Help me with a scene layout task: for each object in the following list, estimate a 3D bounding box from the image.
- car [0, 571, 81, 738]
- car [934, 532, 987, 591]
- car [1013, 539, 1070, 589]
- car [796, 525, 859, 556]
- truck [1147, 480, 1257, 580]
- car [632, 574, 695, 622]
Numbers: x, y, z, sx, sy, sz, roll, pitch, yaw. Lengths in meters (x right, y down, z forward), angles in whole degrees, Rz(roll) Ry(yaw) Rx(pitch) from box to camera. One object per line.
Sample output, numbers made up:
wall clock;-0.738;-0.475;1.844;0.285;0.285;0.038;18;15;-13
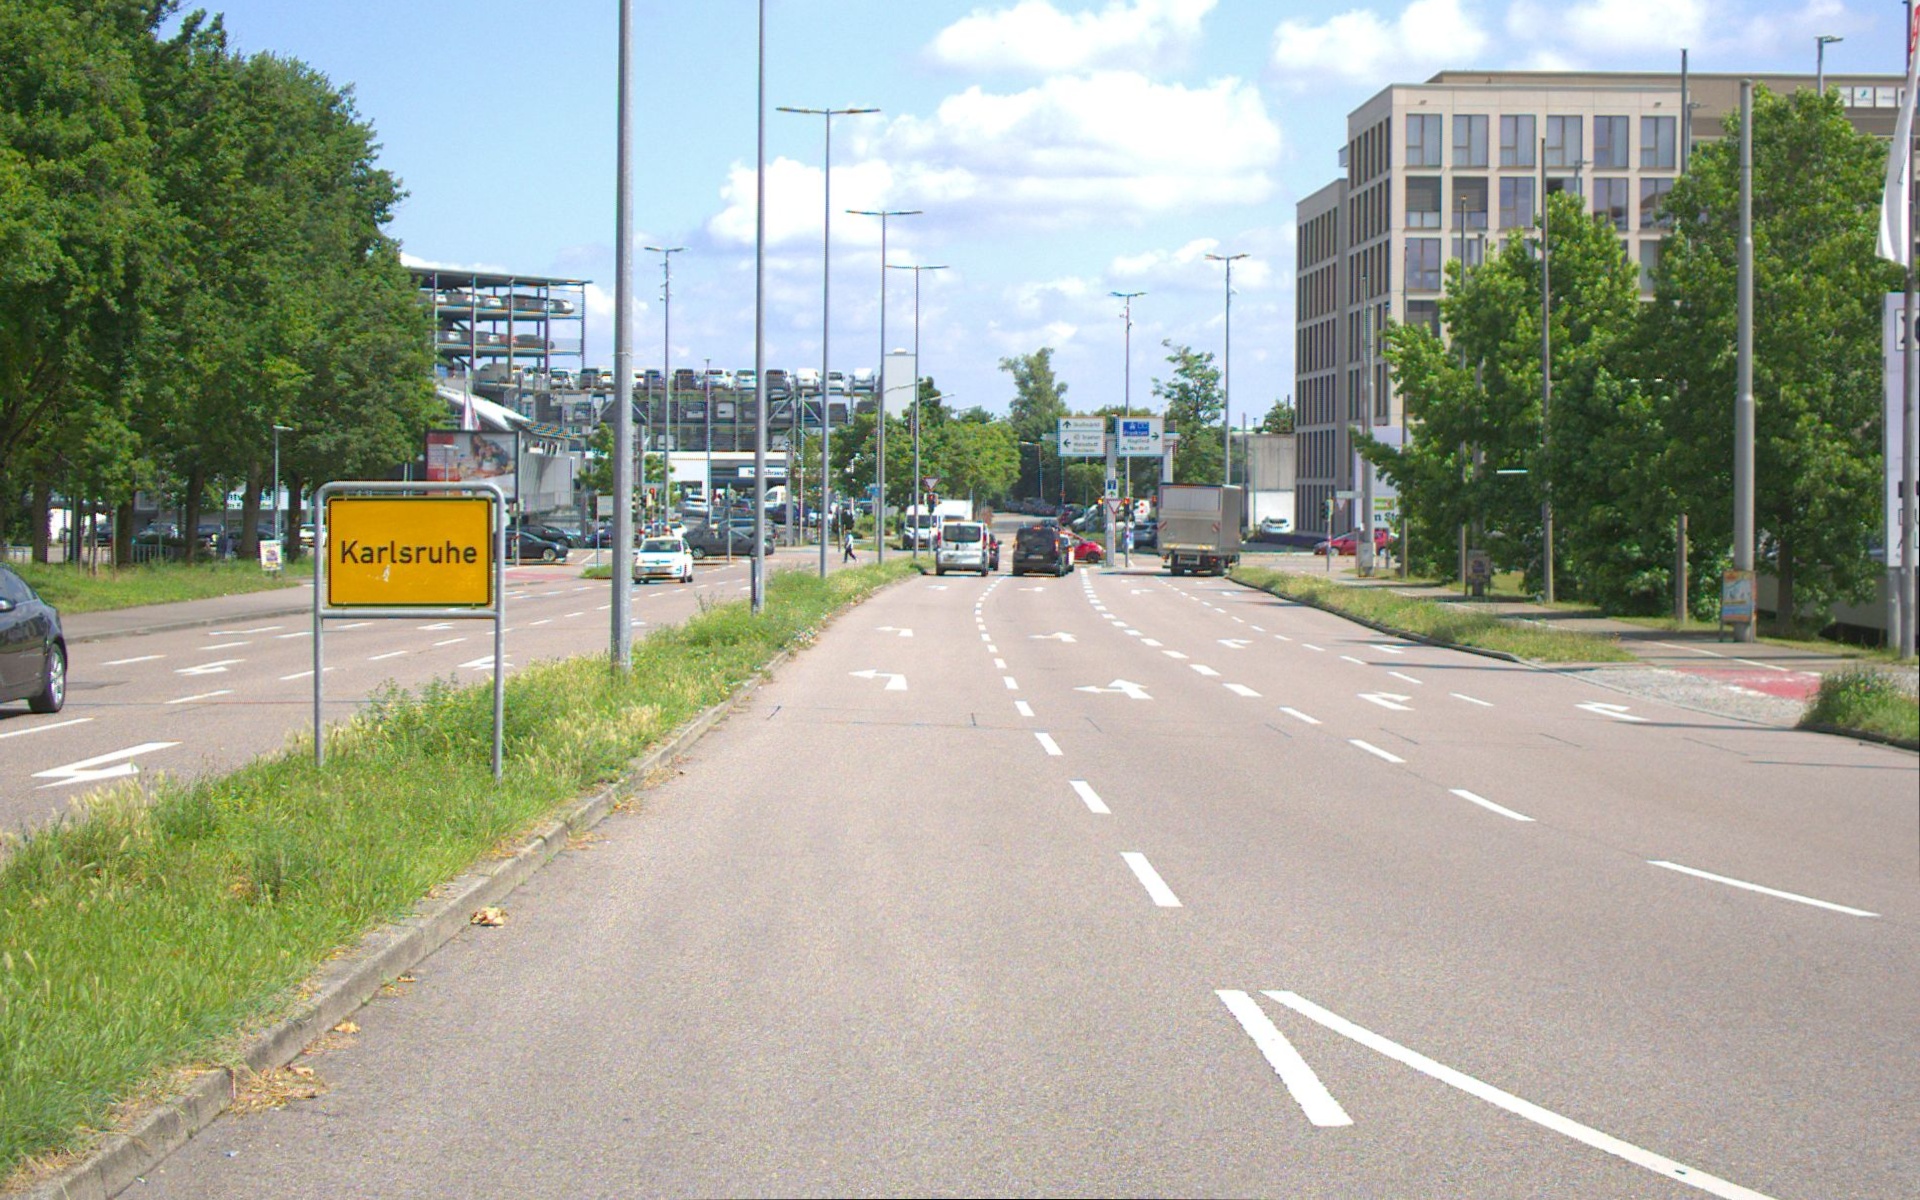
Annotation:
car;-9.029;0.485;29.843;1.663;1.416;4.519;-2;1;-1
car;0.013;-1.401;124.757;1.856;2.011;4.000;1;2;0
car;3.050;-1.356;128.381;1.820;1.802;3.999;2;1;5
car;-8.594;-3.886;223.468;3.986;1.919;1.827;1;1;-4
truck;10.089;-2.933;142.505;3.131;3.927;8.853;1;2;13
car;-9.427;-0.075;109.513;1.643;1.424;3.670;-1;1;1
